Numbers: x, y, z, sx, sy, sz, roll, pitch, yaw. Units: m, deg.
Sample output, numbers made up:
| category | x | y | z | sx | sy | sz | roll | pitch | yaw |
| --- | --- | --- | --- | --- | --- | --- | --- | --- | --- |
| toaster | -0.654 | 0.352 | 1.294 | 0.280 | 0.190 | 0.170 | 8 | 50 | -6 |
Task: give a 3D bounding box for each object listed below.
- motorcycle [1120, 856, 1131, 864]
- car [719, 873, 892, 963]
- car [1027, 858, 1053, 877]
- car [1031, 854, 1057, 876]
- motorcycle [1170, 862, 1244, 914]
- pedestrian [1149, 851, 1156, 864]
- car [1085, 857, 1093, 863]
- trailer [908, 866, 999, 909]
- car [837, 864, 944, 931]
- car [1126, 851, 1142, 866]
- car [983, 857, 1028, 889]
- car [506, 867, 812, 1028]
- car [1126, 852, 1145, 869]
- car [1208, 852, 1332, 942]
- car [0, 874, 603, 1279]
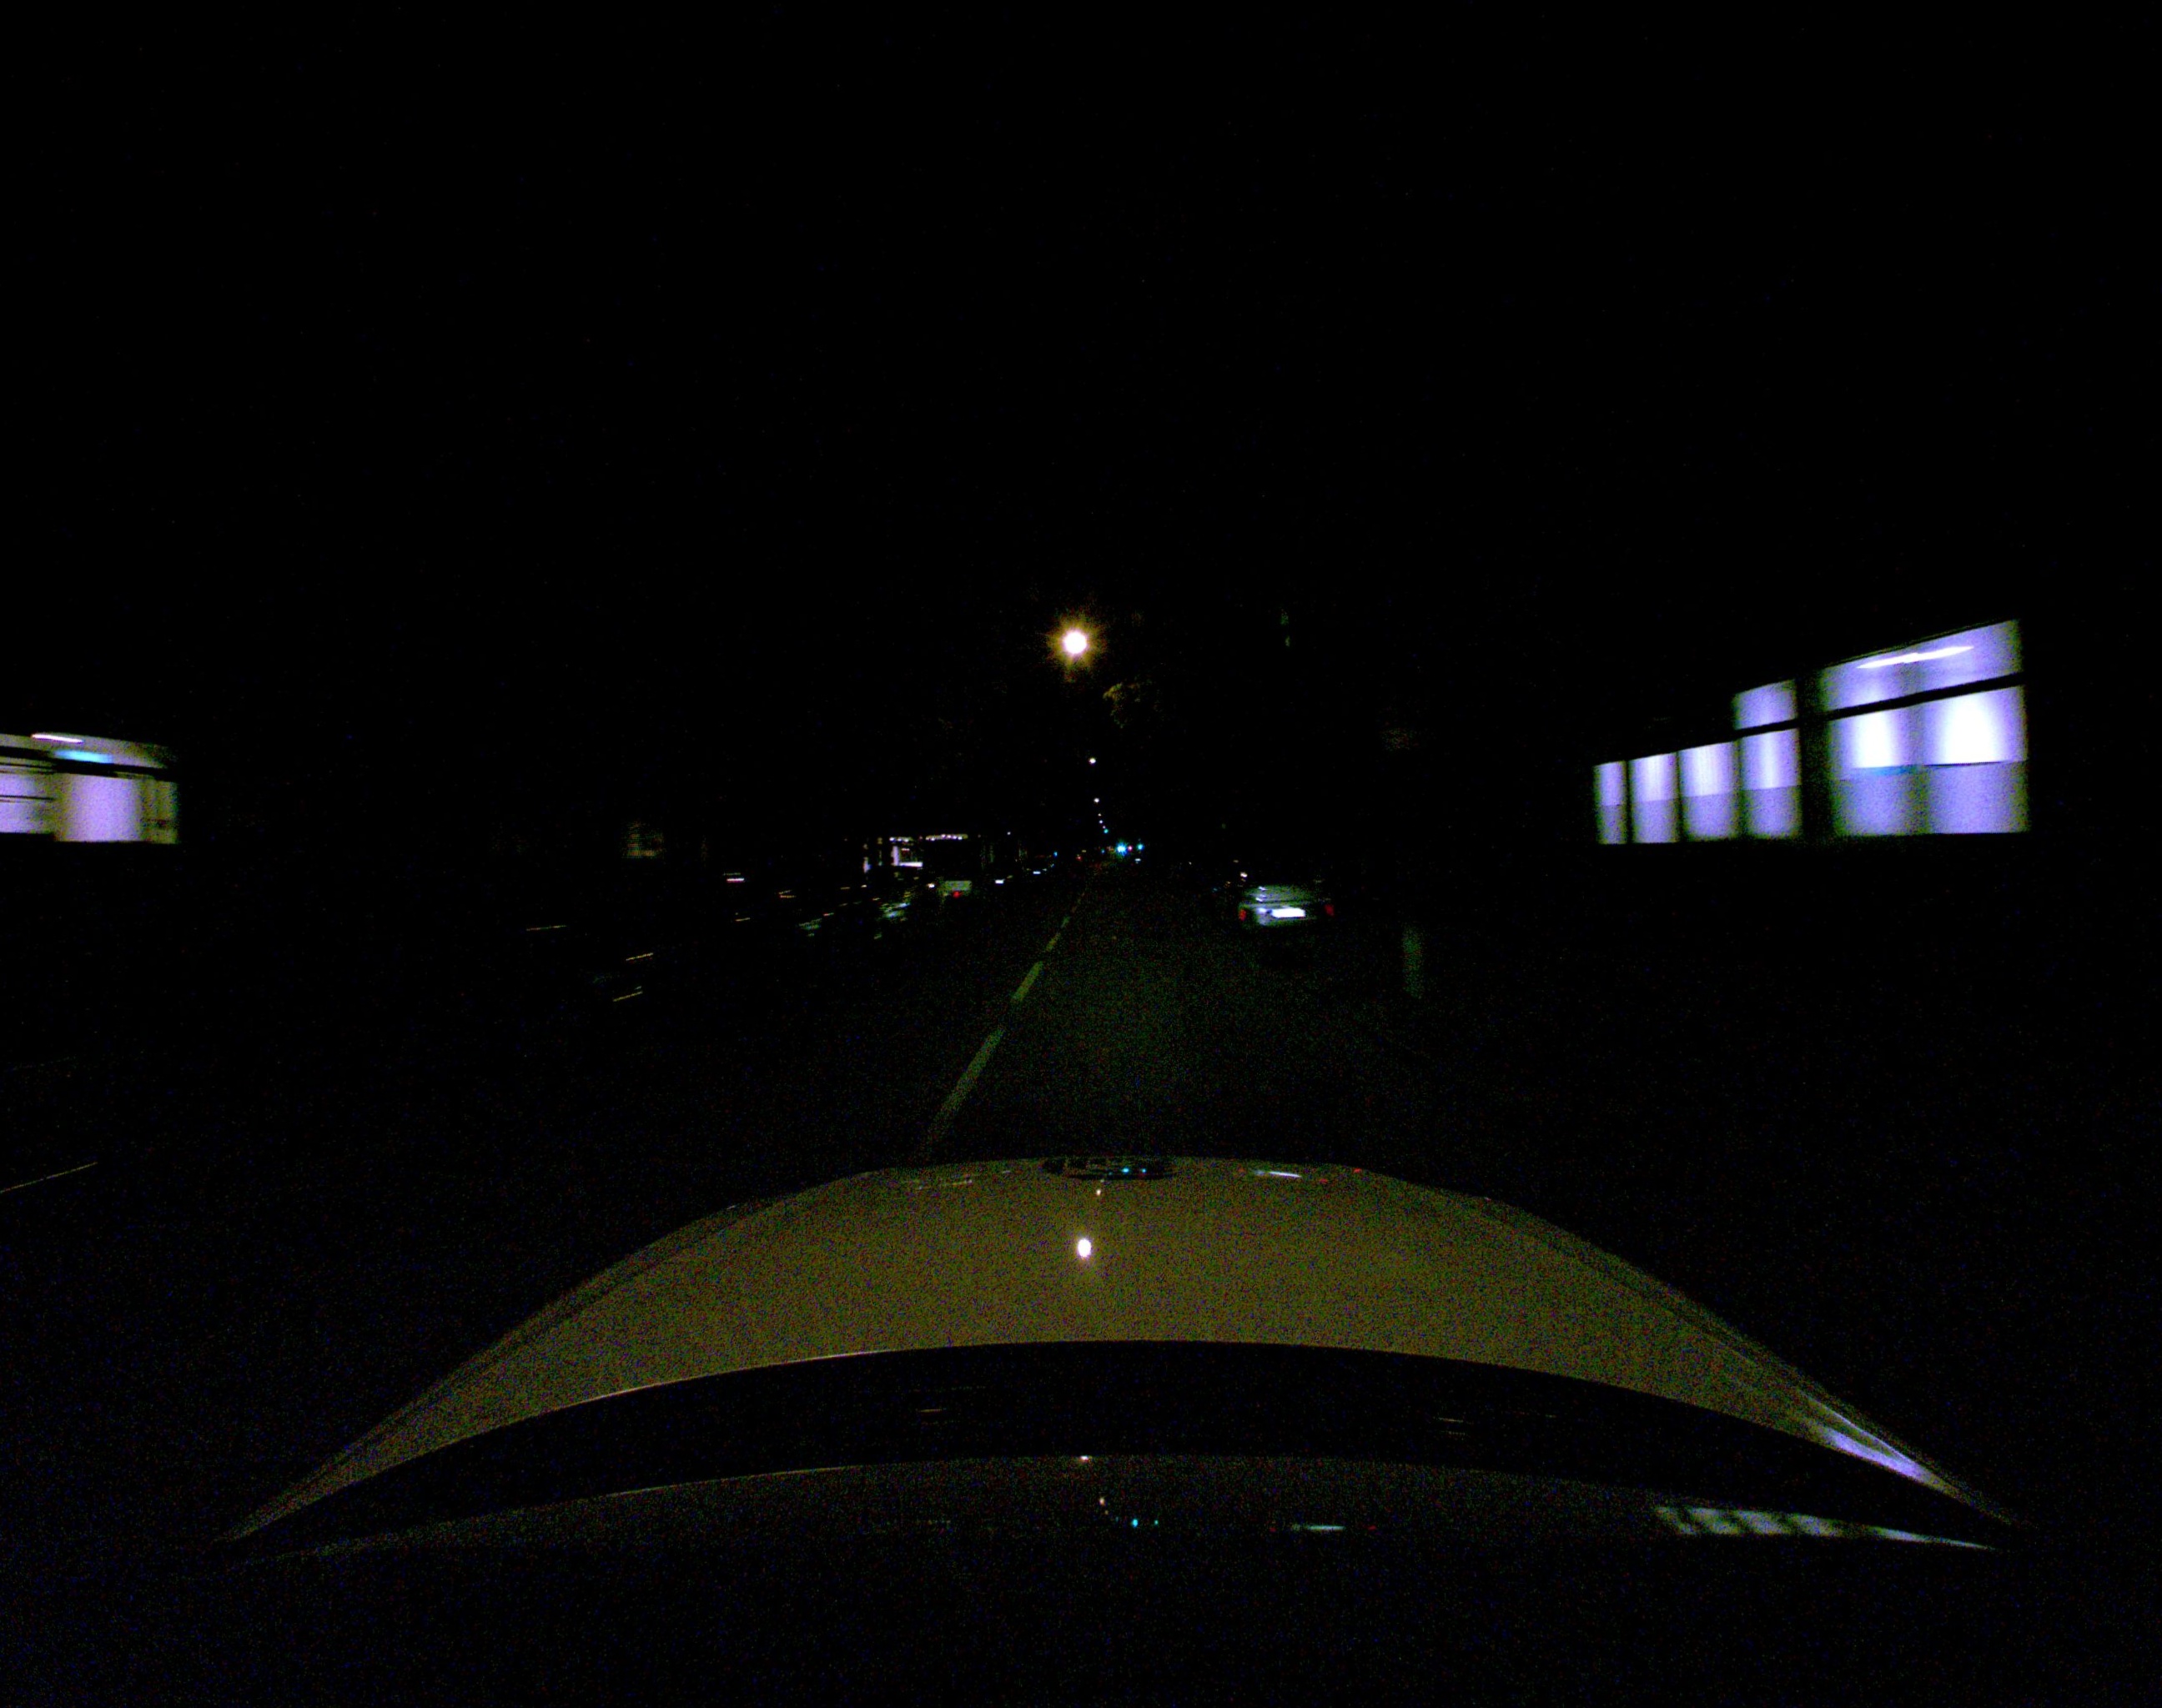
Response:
| category | x | y | z | sx | sy | sz | roll | pitch | yaw |
| --- | --- | --- | --- | --- | --- | --- | --- | --- | --- |
| motorcycle | 6.930 | 0.894 | 127.546 | 0.630 | 1.270 | 2.077 | -2 | 0 | 37 |
| car | -5.112 | 1.114 | 15.834 | 1.698 | 1.411 | 4.634 | 0 | 0 | 1 |
| car | -3.285 | 1.071 | 66.162 | 1.693 | 1.433 | 3.831 | 1 | 0 | 3 |
| car | -3.280 | 0.936 | 72.236 | 1.815 | 1.811 | 4.213 | 1 | 0 | 3 |
| motorcycle | 3.382 | 0.885 | 22.086 | 0.930 | 1.283 | 2.217 | -3 | 0 | -23 |
| pedestrian | 9.224 | 0.449 | 105.246 | 0.702 | 1.721 | 0.822 | -3 | -1 | 2 |
| car | 1.851 | 1.451 | 194.646 | 1.734 | 1.416 | 3.754 | -1 | 0 | 2 |
| trailer | -4.436 | 1.120 | 29.195 | 2.102 | 1.335 | 5.439 | 1 | 0 | 3 |
| car | -4.819 | 1.047 | 21.195 | 1.710 | 1.502 | 4.206 | 1 | 0 | 1 |
| car | 6.912 | 0.551 | 106.942 | 1.766 | 1.807 | 4.276 | -4 | 0 | -1 |
| car | -4.023 | 0.971 | 43.953 | 1.815 | 1.599 | 4.076 | 1 | 0 | 3 |
| car | -5.094 | 0.998 | 10.603 | 1.736 | 1.606 | 4.297 | 0 | 0 | 0 |
| car | 5.780 | 0.665 | 86.419 | 1.846 | 1.654 | 4.211 | -4 | 0 | 2 |
| car | 3.525 | 0.737 | 15.905 | 1.661 | 1.429 | 4.152 | -4 | 0 | 4 |
| car | -5.336 | 0.990 | 5.456 | 1.735 | 1.606 | 4.117 | 0 | 0 | 2 |
